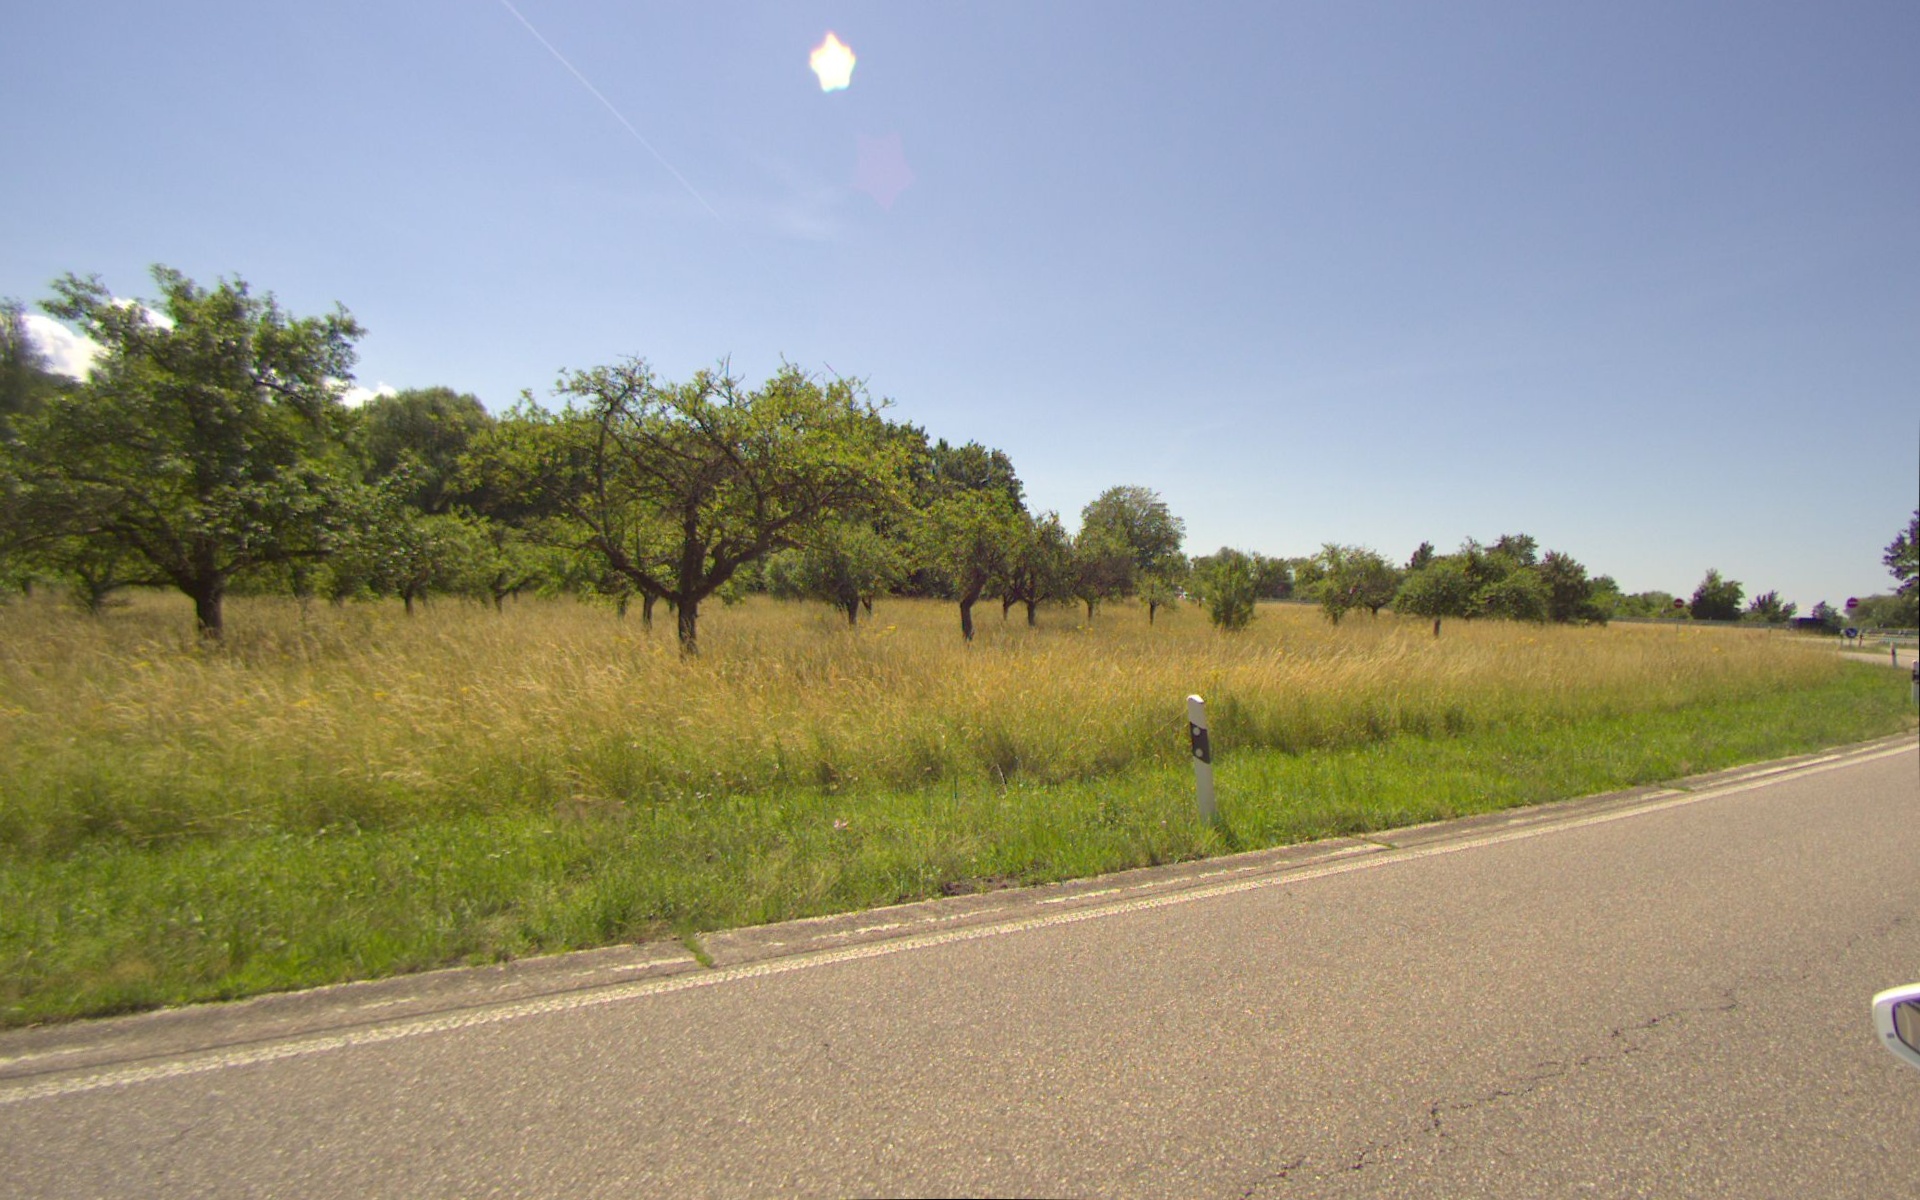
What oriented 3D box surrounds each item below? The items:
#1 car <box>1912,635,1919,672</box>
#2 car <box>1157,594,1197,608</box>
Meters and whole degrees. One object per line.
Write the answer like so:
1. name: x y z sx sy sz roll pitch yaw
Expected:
1. car: 40.471 2.135 40.628 1.795 1.526 4.167 0 -4 28
2. car: 22.643 0.052 104.892 4.064 1.443 1.853 0 0 14
